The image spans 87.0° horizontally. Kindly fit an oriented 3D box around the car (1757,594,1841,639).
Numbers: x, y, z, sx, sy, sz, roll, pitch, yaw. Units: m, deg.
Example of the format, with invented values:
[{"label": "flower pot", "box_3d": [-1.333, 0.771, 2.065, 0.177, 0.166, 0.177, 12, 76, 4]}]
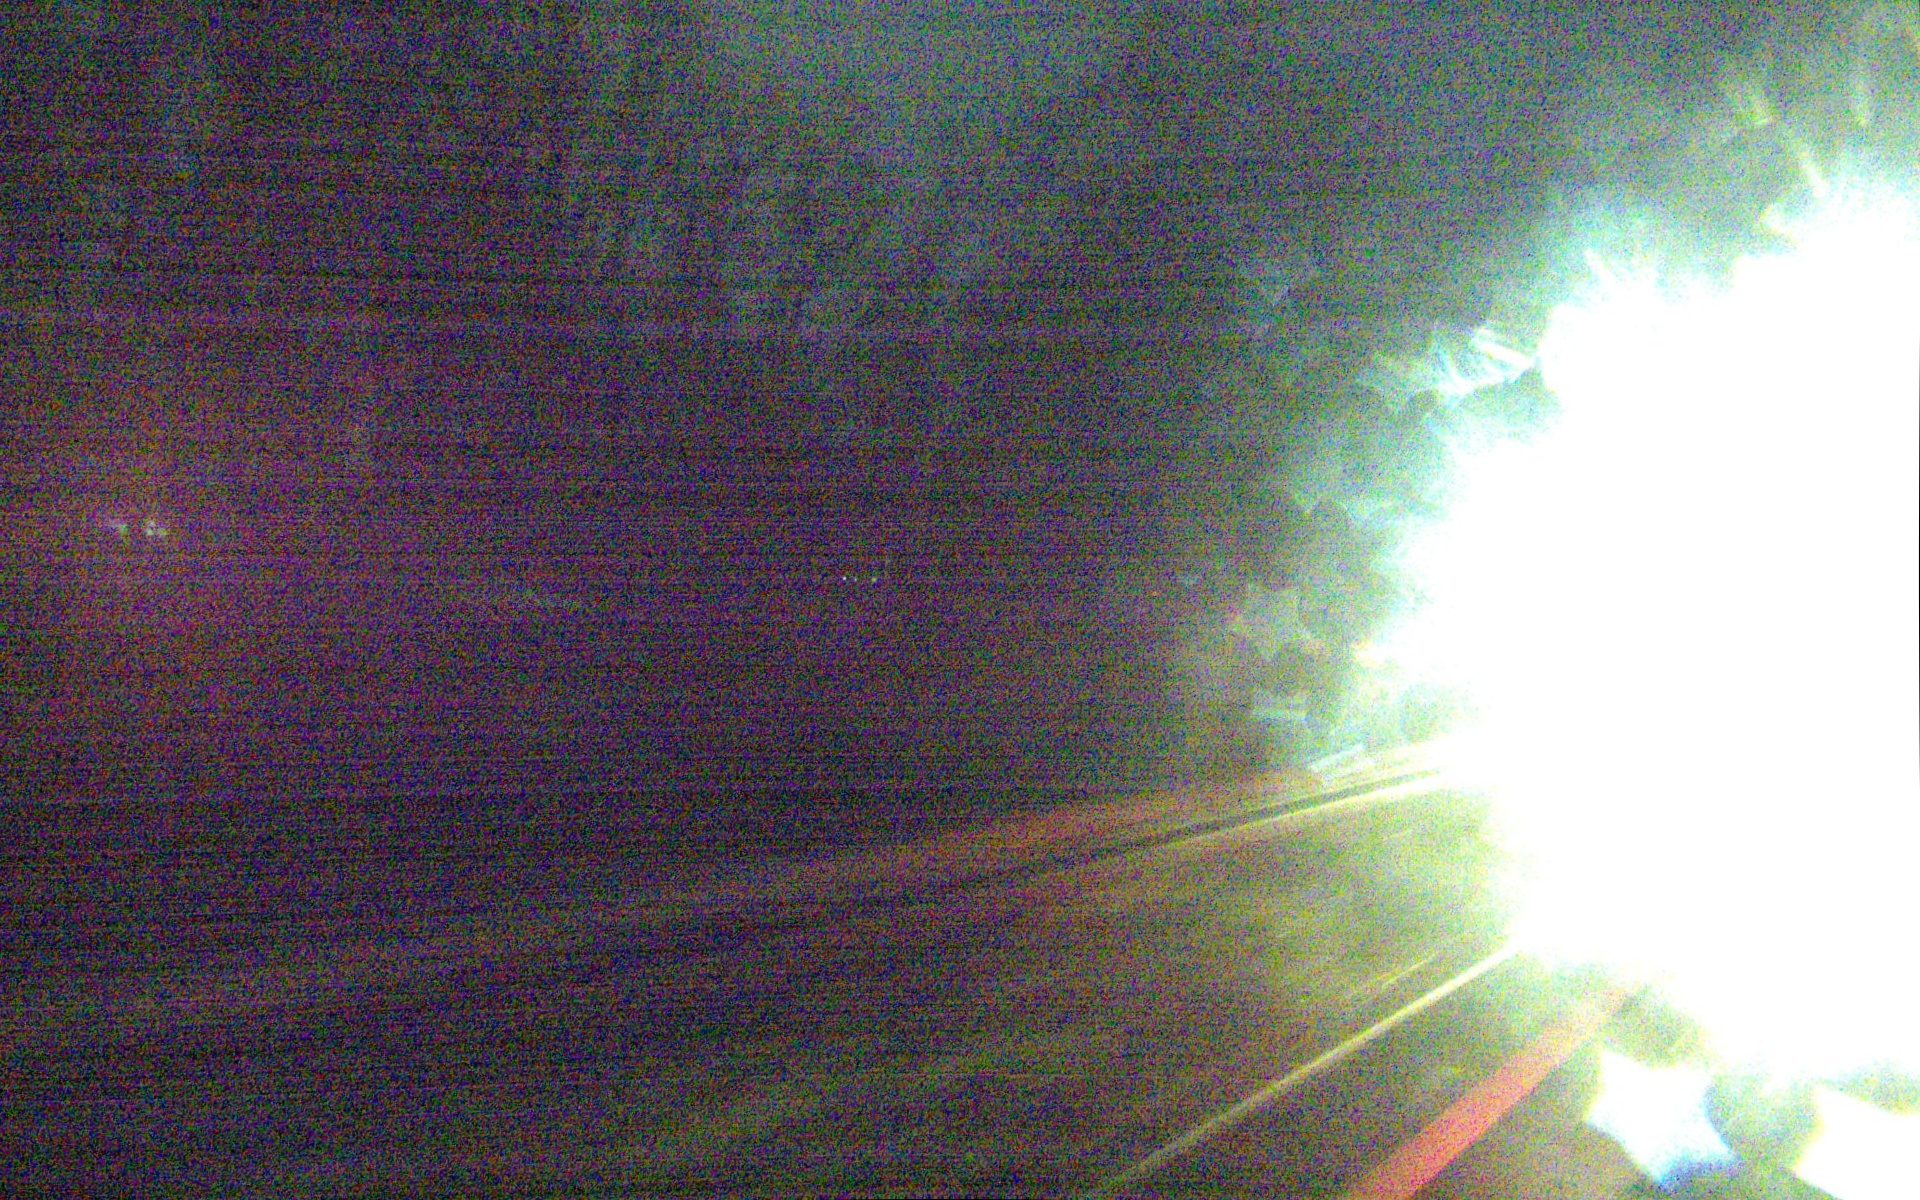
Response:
[{"label": "car", "box_3d": [29.606, 0.554, 35.807, 1.837, 1.467, 3.829, 0, 1, 33]}]
